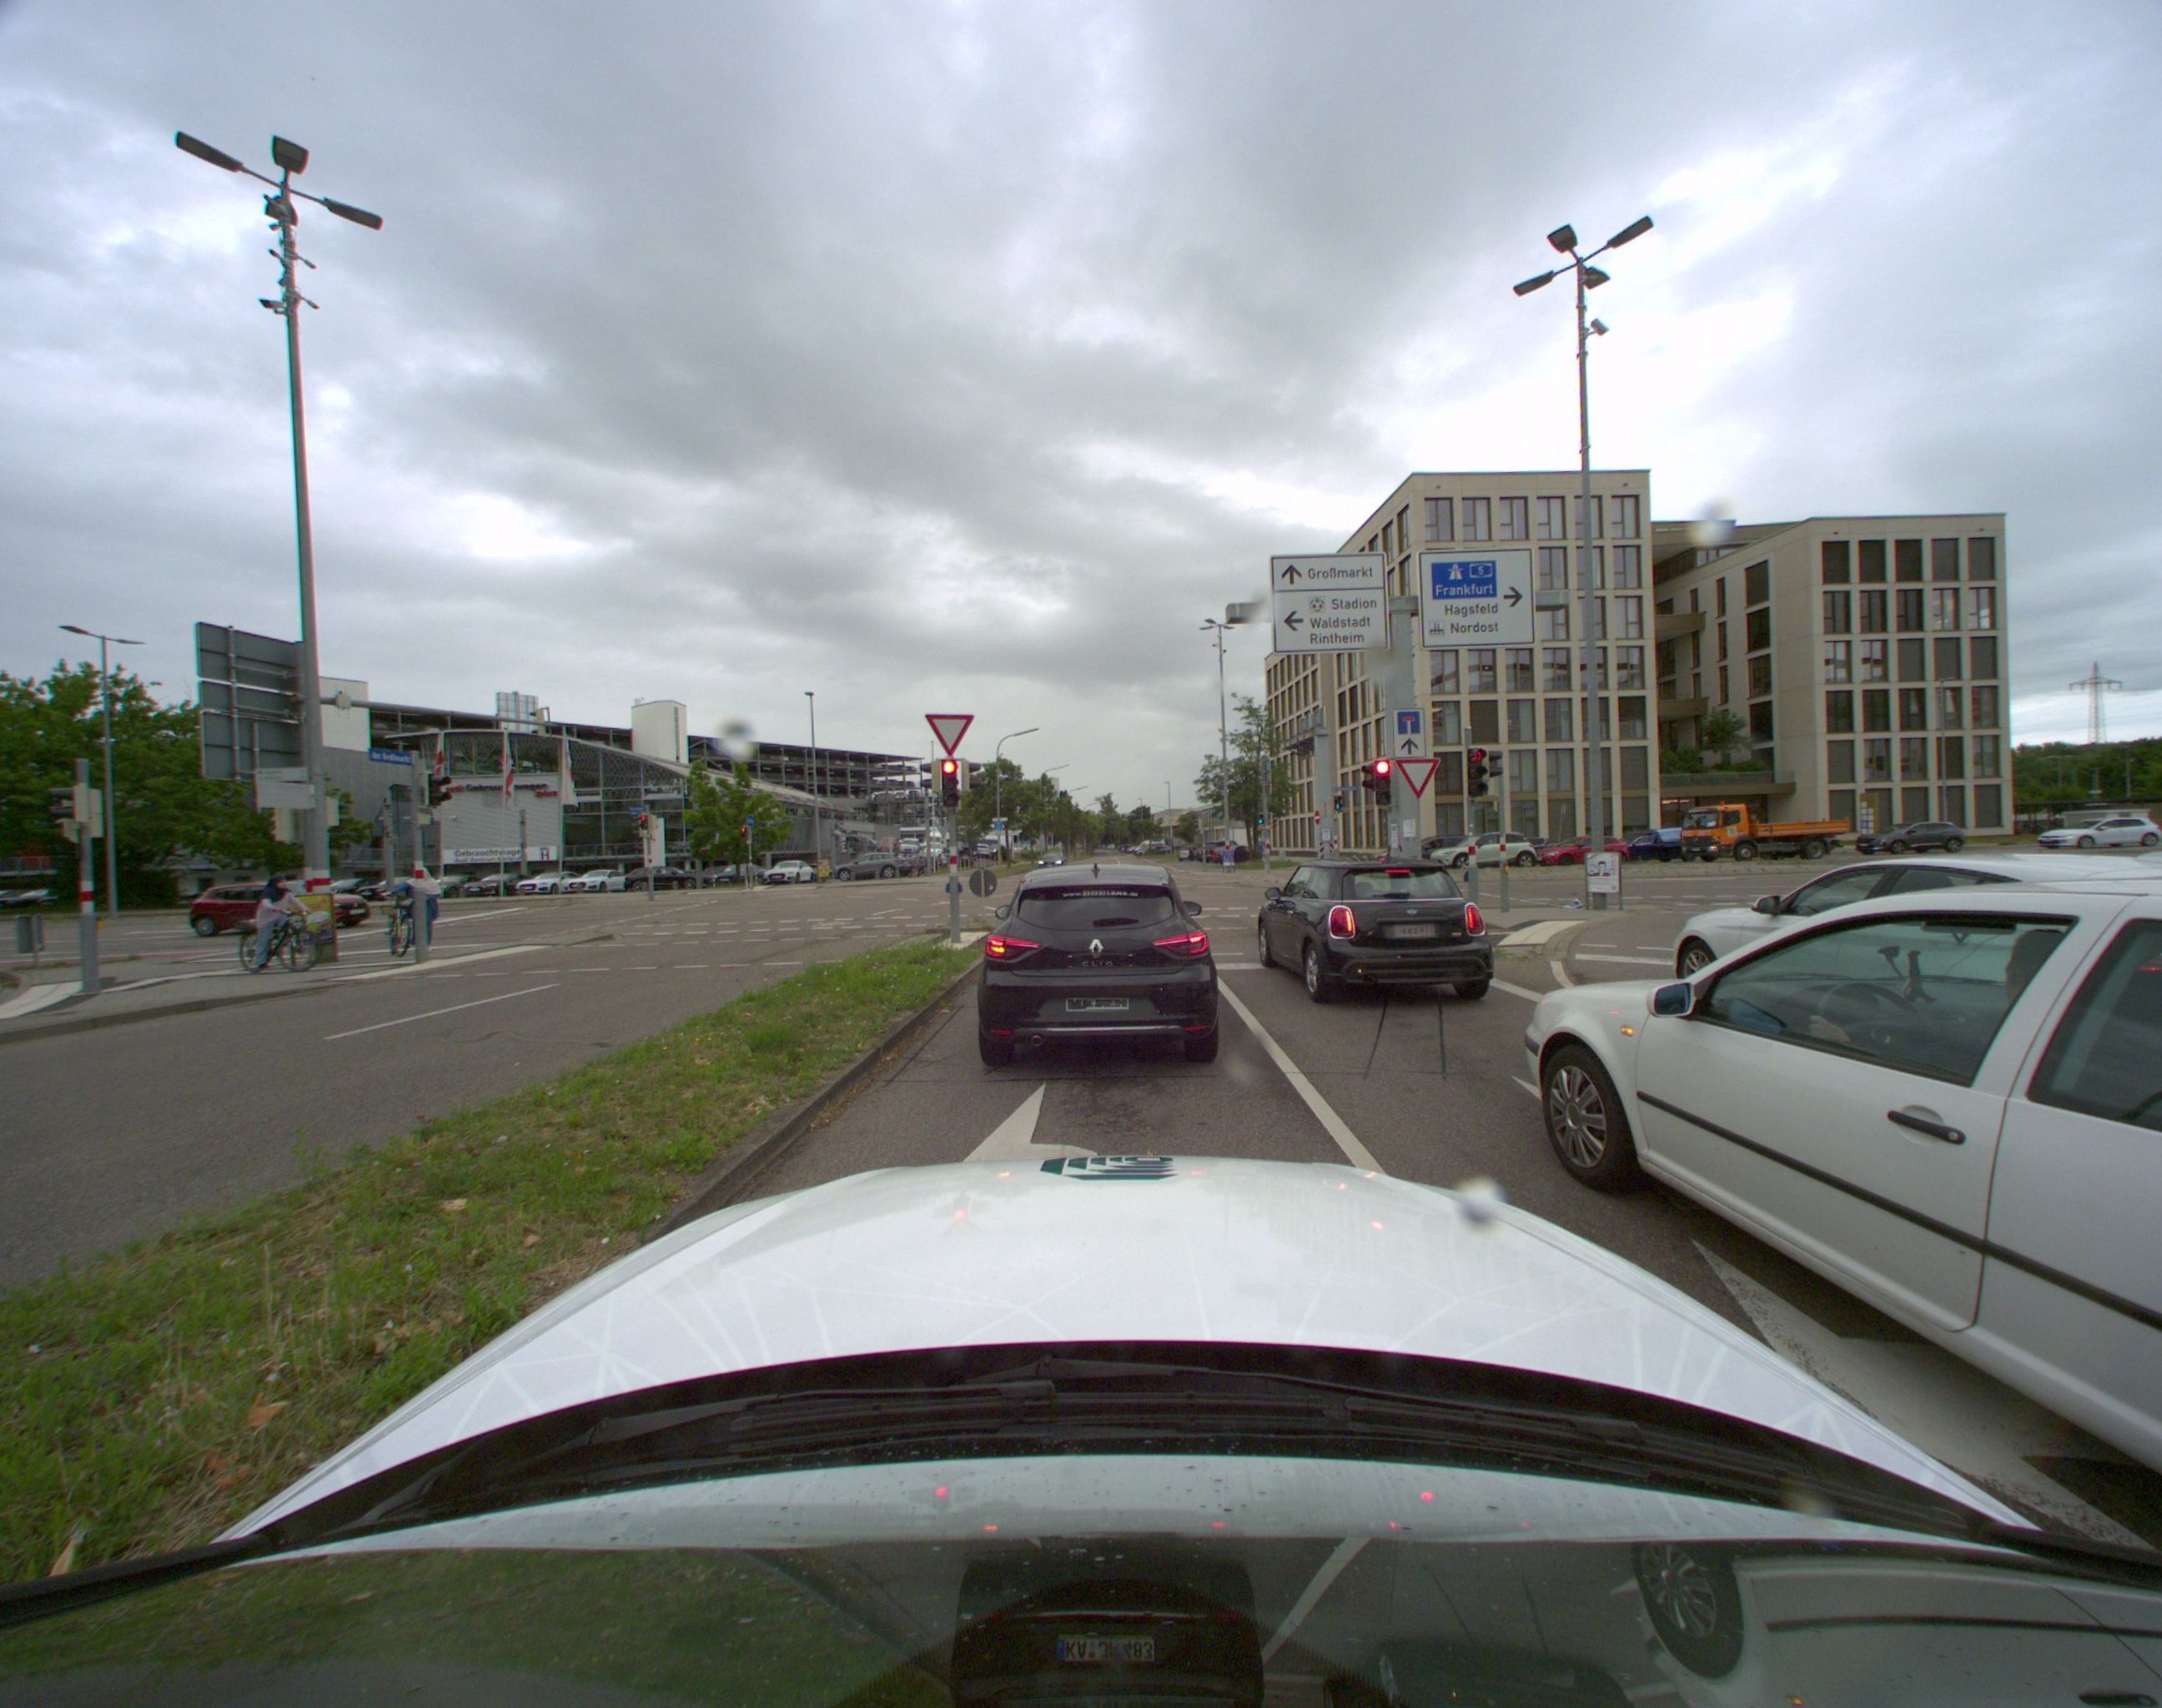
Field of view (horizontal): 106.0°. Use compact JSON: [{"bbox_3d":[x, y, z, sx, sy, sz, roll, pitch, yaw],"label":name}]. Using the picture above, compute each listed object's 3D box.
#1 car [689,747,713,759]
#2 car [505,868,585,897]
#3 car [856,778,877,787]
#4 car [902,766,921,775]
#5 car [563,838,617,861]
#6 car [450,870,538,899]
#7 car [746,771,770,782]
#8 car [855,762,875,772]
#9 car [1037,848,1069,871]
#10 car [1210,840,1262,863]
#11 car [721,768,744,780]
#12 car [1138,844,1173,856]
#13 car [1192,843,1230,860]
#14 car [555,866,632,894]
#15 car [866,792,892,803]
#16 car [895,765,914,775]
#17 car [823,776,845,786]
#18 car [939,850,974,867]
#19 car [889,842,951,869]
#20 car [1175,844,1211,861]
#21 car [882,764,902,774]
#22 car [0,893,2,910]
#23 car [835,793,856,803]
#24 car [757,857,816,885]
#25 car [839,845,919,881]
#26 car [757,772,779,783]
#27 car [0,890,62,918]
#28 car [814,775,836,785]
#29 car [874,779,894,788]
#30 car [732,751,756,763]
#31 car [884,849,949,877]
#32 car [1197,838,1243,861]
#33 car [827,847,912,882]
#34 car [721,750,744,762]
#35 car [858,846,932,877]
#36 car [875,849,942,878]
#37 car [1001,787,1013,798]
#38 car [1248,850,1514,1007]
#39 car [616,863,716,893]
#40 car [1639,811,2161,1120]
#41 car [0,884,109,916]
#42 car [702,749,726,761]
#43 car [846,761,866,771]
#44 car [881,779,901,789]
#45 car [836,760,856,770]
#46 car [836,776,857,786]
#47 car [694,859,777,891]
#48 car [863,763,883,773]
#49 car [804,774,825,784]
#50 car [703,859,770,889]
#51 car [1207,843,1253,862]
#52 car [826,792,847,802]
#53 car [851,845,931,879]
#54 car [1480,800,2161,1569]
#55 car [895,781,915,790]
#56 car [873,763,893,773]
[{"bbox_3d":[-65.635,-17.398,140.680,3.948,1.667,2.013,-1,0,33],"label":"car"},{"bbox_3d":[-30.101,1.610,45.881,1.865,1.486,4.041,-2,-2,-1],"label":"car"},{"bbox_3d":[-45.172,-15.005,171.330,3.948,1.667,2.013,-1,0,33],"label":"car"},{"bbox_3d":[-38.063,-18.753,183.103,3.948,1.667,2.013,-1,0,33],"label":"car"},{"bbox_3d":[-37.740,-0.314,62.692,1.815,1.662,3.996,0,-1,-3],"label":"car"},{"bbox_3d":[-32.848,1.719,45.738,1.860,1.486,4.229,-2,-2,-1],"label":"car"},{"bbox_3d":[-59.204,-14.264,149.265,3.948,1.667,2.013,-1,0,33],"label":"car"},{"bbox_3d":[-45.521,-18.244,171.680,3.948,1.667,2.013,-1,0,33],"label":"car"},{"bbox_3d":[-2.083,0.391,61.149,1.970,1.551,4.617,-2,1,3],"label":"car"},{"bbox_3d":[12.674,-0.195,66.511,4.153,1.768,1.867,-1,-1,-38],"label":"car"},{"bbox_3d":[-62.091,-14.276,145.144,3.948,1.667,2.013,-1,0,33],"label":"car"},{"bbox_3d":[11.255,-0.646,123.523,5.158,1.720,2.143,0,-1,-1],"label":"car"},{"bbox_3d":[12.390,-0.218,77.517,1.676,1.511,3.840,-2,-1,45],"label":"car"},{"bbox_3d":[-27.538,1.499,46.165,1.841,1.486,4.196,-2,-2,-1],"label":"car"},{"bbox_3d":[-43.747,-12.241,176.246,5.263,1.945,2.225,-1,0,30],"label":"car"},{"bbox_3d":[-39.240,-18.712,181.185,3.948,1.667,2.013,-1,0,33],"label":"car"},{"bbox_3d":[-49.788,-14.785,164.106,3.948,1.667,2.013,-1,0,33],"label":"car"},{"bbox_3d":[-15.212,0.522,99.463,3.975,2.014,1.999,0,-1,-1],"label":"car"},{"bbox_3d":[-13.917,0.135,70.528,4.882,2.013,1.998,-4,0,-3],"label":"car"},{"bbox_3d":[11.559,-0.147,83.854,3.451,1.732,1.745,0,-1,-40],"label":"car"},{"bbox_3d":[-41.216,-18.556,177.876,3.948,1.667,2.013,-1,0,33],"label":"car"},{"bbox_3d":[-63.246,2.828,44.958,1.808,1.486,4.072,0,-5,-2],"label":"car"},{"bbox_3d":[-48.249,-11.440,167.101,3.948,1.667,2.013,-1,0,33],"label":"car"},{"bbox_3d":[-16.891,0.993,46.925,1.863,1.486,4.227,-3,-2,-1],"label":"car"},{"bbox_3d":[-13.333,0.572,54.012,4.690,2.013,1.998,-4,0,-3],"label":"car"},{"bbox_3d":[-58.116,-14.261,151.230,3.948,1.667,2.013,-1,0,33],"label":"car"},{"bbox_3d":[-60.436,2.775,45.404,1.815,1.487,4.216,0,-6,-2],"label":"car"},{"bbox_3d":[-51.029,-14.764,162.282,3.948,1.667,2.013,-1,0,33],"label":"car"},{"bbox_3d":[-42.604,-15.209,175.757,3.948,1.667,2.013,-1,0,33],"label":"car"},{"bbox_3d":[-61.015,-17.590,147.409,3.948,1.667,2.013,-1,0,33],"label":"car"},{"bbox_3d":[-13.641,0.733,67.694,4.882,2.013,1.998,-4,0,-3],"label":"car"},{"bbox_3d":[12.666,-0.410,74.107,1.975,1.965,4.271,-2,-1,43],"label":"car"},{"bbox_3d":[-13.311,0.630,51.440,4.761,1.862,1.998,-4,0,-3],"label":"car"},{"bbox_3d":[-62.141,-17.386,145.253,3.948,1.667,2.013,-1,0,33],"label":"car"},{"bbox_3d":[-13.592,0.548,59.659,4.938,1.876,2.050,-4,-1,-5],"label":"car"},{"bbox_3d":[-13.729,0.742,64.974,4.882,2.013,1.998,-4,0,-3],"label":"car"},{"bbox_3d":[-14.536,-12.006,159.507,1.989,1.882,3.996,-2,-1,-2],"label":"car"},{"bbox_3d":[3.111,0.696,9.261,1.779,1.416,3.644,0,-1,2],"label":"car"},{"bbox_3d":[-23.742,1.412,46.708,4.726,1.486,1.891,-2,-3,-2],"label":"car"},{"bbox_3d":[6.042,0.517,5.705,1.819,1.410,4.206,0,-1,8],"label":"car"},{"bbox_3d":[-57.774,2.602,45.438,1.865,1.603,4.245,0,-6,-2],"label":"car"},{"bbox_3d":[-64.437,-17.389,142.829,3.948,1.667,2.013,-1,0,33],"label":"car"},{"bbox_3d":[-46.700,-18.305,169.082,3.948,1.667,2.013,-1,0,33],"label":"car"},{"bbox_3d":[-41.430,-15.283,177.688,3.948,1.667,2.013,-1,0,33],"label":"car"},{"bbox_3d":[-48.145,-18.231,166.813,3.948,1.667,2.013,-1,0,33],"label":"car"},{"bbox_3d":[-48.081,-14.911,166.636,3.948,1.667,2.013,-1,0,33],"label":"car"},{"bbox_3d":[-23.781,1.415,56.187,4.788,1.939,1.999,-2,0,-1],"label":"car"},{"bbox_3d":[-44.297,-18.388,173.630,3.948,1.667,2.013,-1,0,33],"label":"car"},{"bbox_3d":[-52.414,-14.716,160.118,3.948,1.667,2.013,-1,0,33],"label":"car"},{"bbox_3d":[-19.694,1.188,46.801,2.059,1.486,4.511,-3,-2,-3],"label":"car"},{"bbox_3d":[12.986,-0.153,70.894,4.157,1.551,1.865,-1,-1,-43],"label":"car"},{"bbox_3d":[-49.454,-11.526,164.696,3.948,1.667,2.013,-1,0,33],"label":"car"},{"bbox_3d":[-13.257,0.535,57.020,5.011,2.013,2.264,-4,0,-3],"label":"car"},{"bbox_3d":[3.013,0.636,2.385,1.826,1.478,4.006,0,-1,2],"label":"car"},{"bbox_3d":[-39.157,-15.228,180.987,3.948,1.667,2.013,-1,0,33],"label":"car"},{"bbox_3d":[-42.694,-18.566,175.801,3.948,1.667,2.013,-1,0,33],"label":"car"}]
